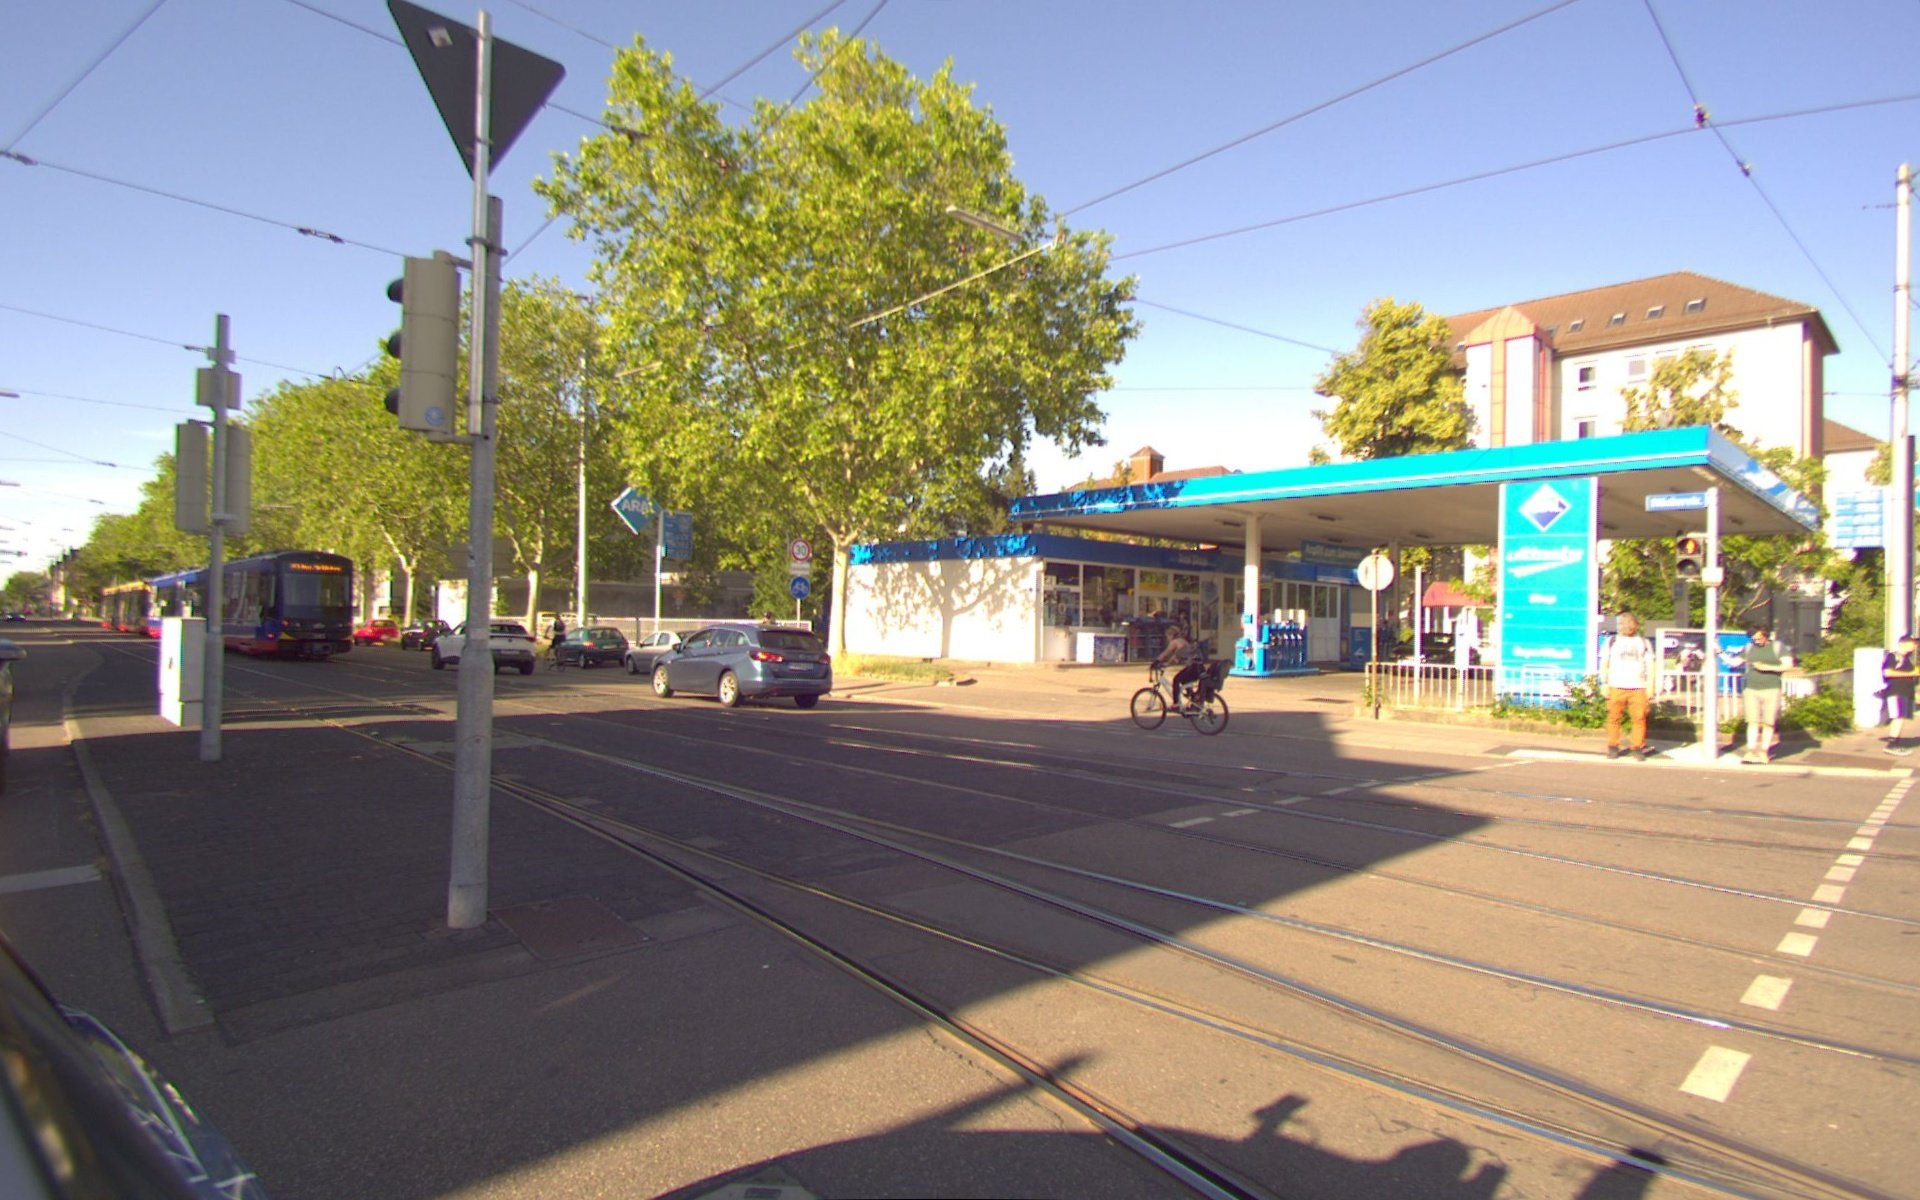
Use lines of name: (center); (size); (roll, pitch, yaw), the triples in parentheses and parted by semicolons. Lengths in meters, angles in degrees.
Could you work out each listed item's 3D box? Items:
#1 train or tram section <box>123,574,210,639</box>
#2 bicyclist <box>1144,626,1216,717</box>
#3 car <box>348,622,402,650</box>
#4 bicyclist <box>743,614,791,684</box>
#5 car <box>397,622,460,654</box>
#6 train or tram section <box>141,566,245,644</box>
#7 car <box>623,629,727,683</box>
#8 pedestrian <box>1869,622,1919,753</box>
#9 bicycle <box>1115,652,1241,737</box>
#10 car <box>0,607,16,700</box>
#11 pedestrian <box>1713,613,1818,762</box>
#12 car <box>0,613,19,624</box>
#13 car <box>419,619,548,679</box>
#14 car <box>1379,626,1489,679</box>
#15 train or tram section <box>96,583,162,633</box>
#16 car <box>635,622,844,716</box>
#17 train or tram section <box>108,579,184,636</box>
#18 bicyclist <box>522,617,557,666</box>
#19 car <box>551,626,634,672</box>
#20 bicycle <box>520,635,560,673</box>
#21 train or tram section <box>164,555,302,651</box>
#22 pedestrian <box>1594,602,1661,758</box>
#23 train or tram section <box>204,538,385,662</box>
train or tram section: (-48.524, 0.478, 61.716); (3.019, 3.640, 12.126); (2, -2, -43)
bicyclist: (3.383, 1.082, 15.588); (0.898, 1.350, 0.596); (-1, -2, 44)
car: (-32.924, 1.997, 56.902); (1.854, 1.497, 4.005); (2, -2, -42)
bicyclist: (-4.456, 1.122, 23.335); (0.688, 1.583, 0.892); (2, -2, -44)
car: (-26.428, 1.852, 50.274); (1.854, 1.497, 4.005); (2, -2, -42)
train or tram section: (-40.252, 0.357, 52.898); (3.019, 3.640, 12.126); (2, -2, -43)
car: (-8.745, 1.651, 30.863); (1.752, 1.435, 3.544); (-2, 0, -39)
pedestrian: (13.062, 1.180, 13.821); (0.735, 1.742, 0.736); (2, -2, -28)
bicycle: (3.339, 1.424, 15.626); (1.959, 1.175, 0.479); (-1, -2, 45)
car: (-19.198, 0.953, 19.153); (1.890, 1.643, 4.507); (2, -2, -43)
pedestrian: (10.156, 1.077, 12.778); (0.730, 1.815, 0.743); (1, -2, -19)
car: (-129.319, 2.515, 137.569); (1.856, 1.497, 4.002); (2, -2, -45)
car: (-13.711, 1.382, 29.010); (1.970, 1.508, 4.351); (7, -6, -43)
car: (14.545, 1.567, 30.959); (4.156, 1.497, 1.718); (2, -2, -44)
train or tram section: (-65.349, 0.667, 79.444); (3.019, 3.640, 12.900); (2, -2, -43)
car: (-4.203, 1.179, 18.758); (1.752, 1.508, 4.579); (2, -2, -41)
train or tram section: (-56.784, 0.599, 70.418); (3.019, 3.640, 11.960); (2, -2, -44)
bicyclist: (-13.796, 1.362, 33.180); (0.706, 1.571, 0.987); (2, -2, -44)
car: (-12.996, 1.701, 35.696); (1.752, 1.435, 3.317); (-2, 0, -39)
bicycle: (-13.772, 1.752, 33.148); (0.479, 1.175, 2.058); (2, -2, -43)
train or tram section: (-31.803, 0.242, 43.946); (3.019, 3.640, 12.512); (2, -2, -44)
pedestrian: (8.595, 1.009, 13.034); (0.622, 1.940, 0.585); (2, -2, -43)
train or tram section: (-23.325, 0.108, 35.037); (3.019, 3.640, 12.125); (2, -2, -44)
